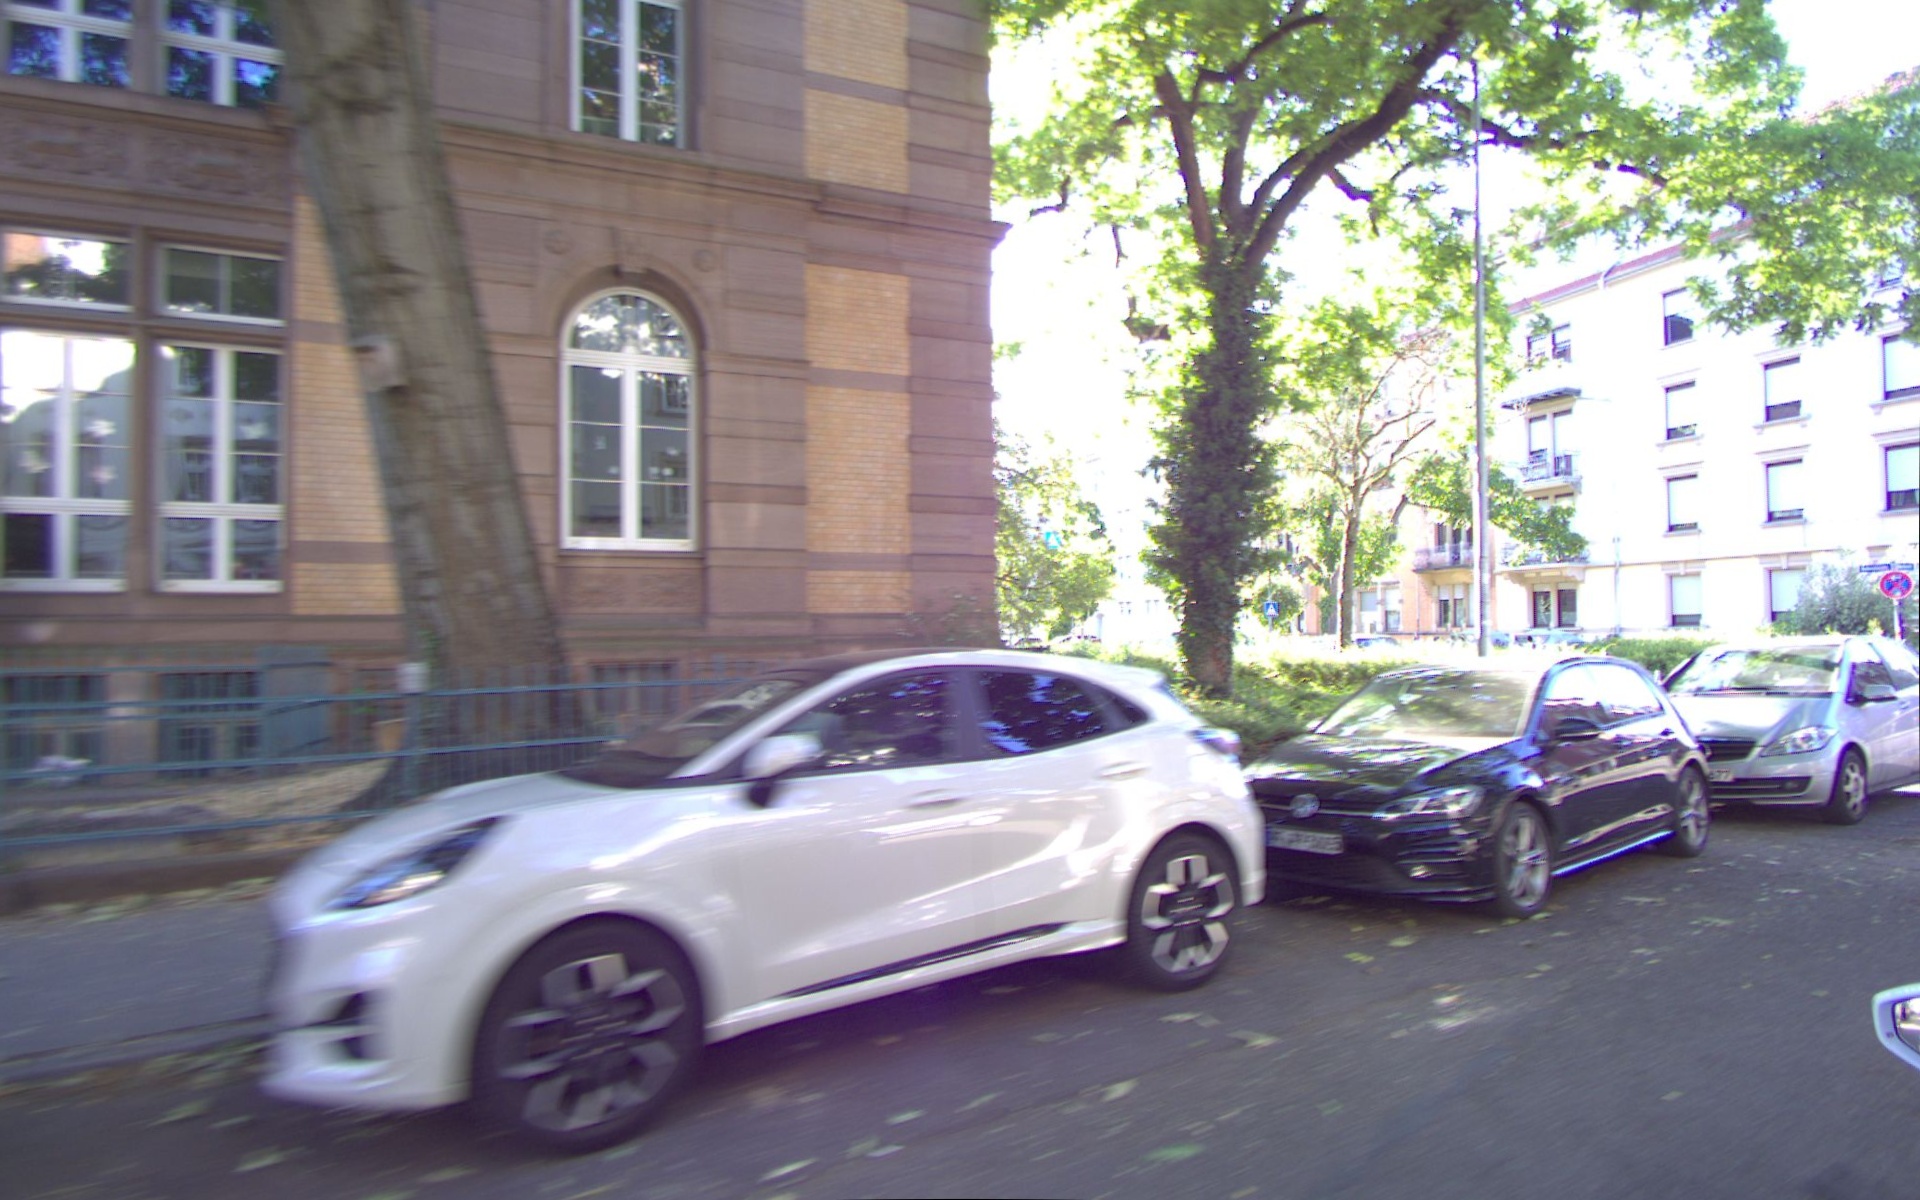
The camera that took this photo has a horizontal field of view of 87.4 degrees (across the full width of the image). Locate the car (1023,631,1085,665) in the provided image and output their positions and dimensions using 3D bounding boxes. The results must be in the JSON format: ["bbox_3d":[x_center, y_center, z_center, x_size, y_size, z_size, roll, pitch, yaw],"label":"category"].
[{"bbox_3d":[5.057,2.605,54.314,1.627,1.762,3.978,0,-2,-23],"label":"car"}]

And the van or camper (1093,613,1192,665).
[{"bbox_3d":[9.622,2.029,52.952,4.853,2.671,1.989,0,-2,-24],"label":"van or camper"}]

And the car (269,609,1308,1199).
[{"bbox_3d":[-0.554,0.937,4.491,4.089,1.573,1.815,1,-6,-33],"label":"car"}]

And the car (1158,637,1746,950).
[{"bbox_3d":[3.560,1.072,6.929,4.422,1.493,1.735,1,-6,-37],"label":"car"}]

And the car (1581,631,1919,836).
[{"bbox_3d":[7.861,1.140,9.564,3.875,1.570,1.688,1,-5,-32],"label":"car"}]

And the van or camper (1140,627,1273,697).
[{"bbox_3d":[7.635,1.895,31.564,1.747,2.040,4.365,0,-2,-24],"label":"van or camper"}]

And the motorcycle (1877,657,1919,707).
[{"bbox_3d":[21.155,1.777,21.935,1.788,0.999,0.690,0,2,-10],"label":"motorcycle"}]
